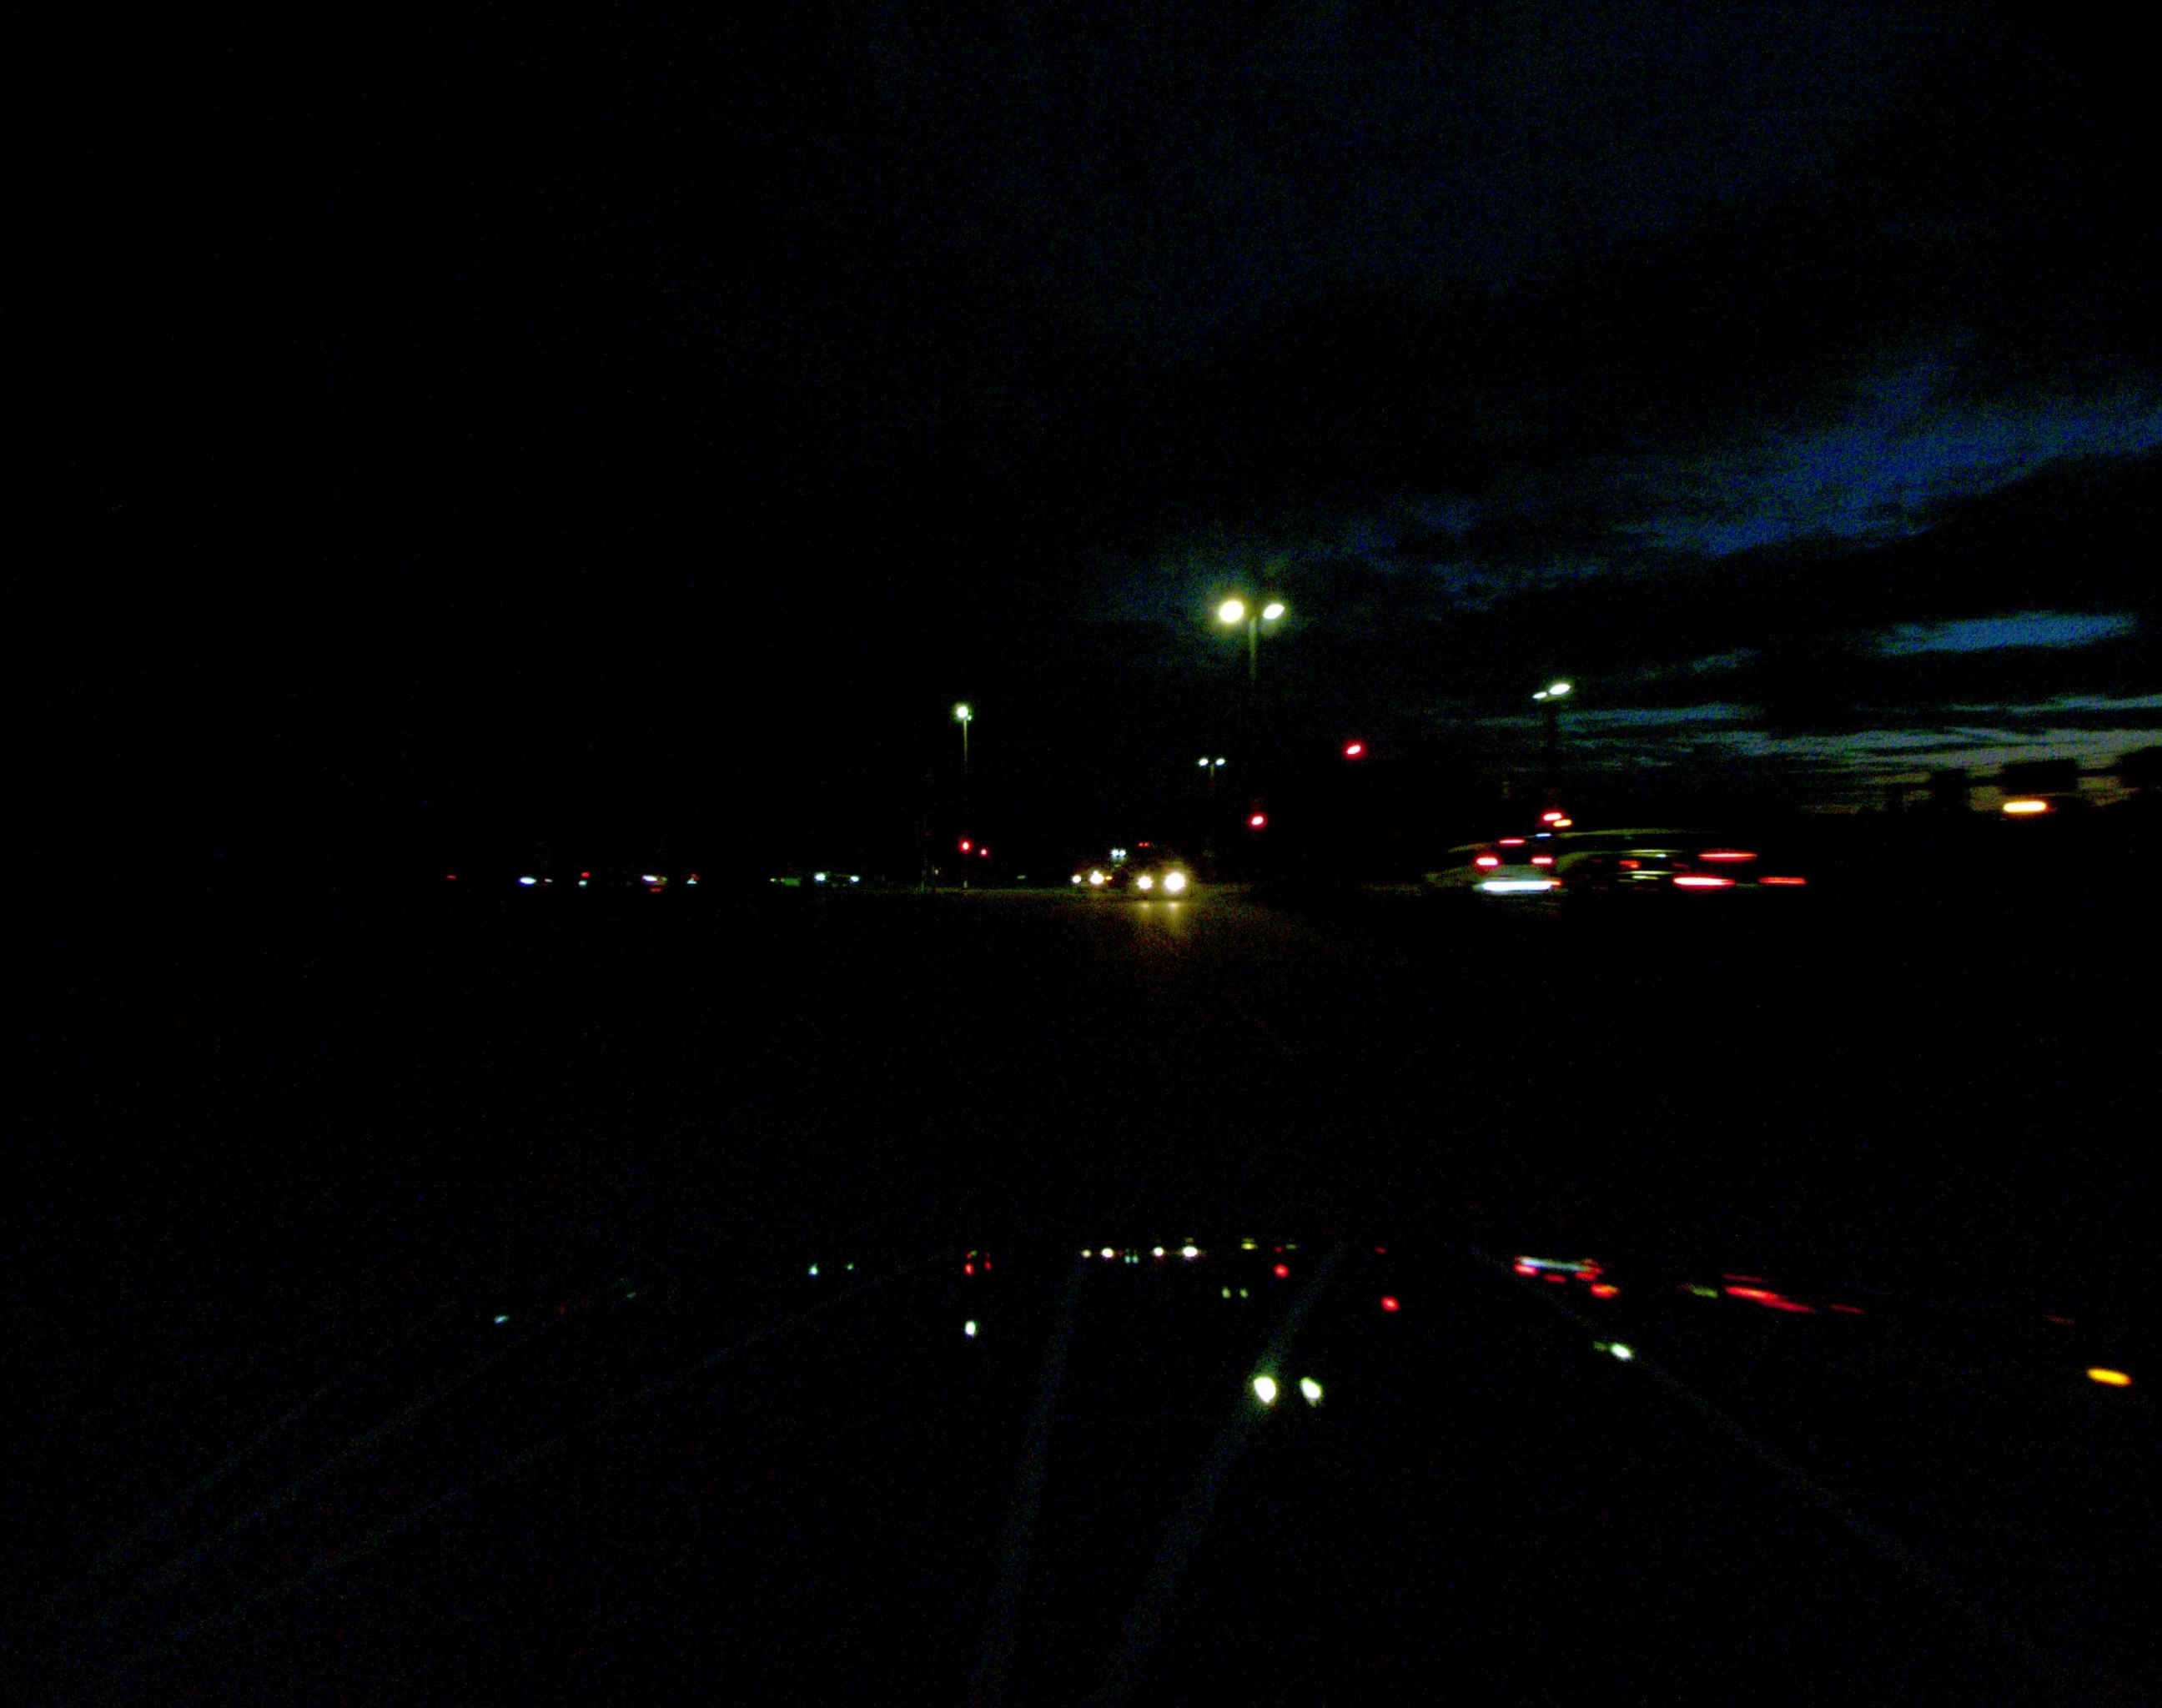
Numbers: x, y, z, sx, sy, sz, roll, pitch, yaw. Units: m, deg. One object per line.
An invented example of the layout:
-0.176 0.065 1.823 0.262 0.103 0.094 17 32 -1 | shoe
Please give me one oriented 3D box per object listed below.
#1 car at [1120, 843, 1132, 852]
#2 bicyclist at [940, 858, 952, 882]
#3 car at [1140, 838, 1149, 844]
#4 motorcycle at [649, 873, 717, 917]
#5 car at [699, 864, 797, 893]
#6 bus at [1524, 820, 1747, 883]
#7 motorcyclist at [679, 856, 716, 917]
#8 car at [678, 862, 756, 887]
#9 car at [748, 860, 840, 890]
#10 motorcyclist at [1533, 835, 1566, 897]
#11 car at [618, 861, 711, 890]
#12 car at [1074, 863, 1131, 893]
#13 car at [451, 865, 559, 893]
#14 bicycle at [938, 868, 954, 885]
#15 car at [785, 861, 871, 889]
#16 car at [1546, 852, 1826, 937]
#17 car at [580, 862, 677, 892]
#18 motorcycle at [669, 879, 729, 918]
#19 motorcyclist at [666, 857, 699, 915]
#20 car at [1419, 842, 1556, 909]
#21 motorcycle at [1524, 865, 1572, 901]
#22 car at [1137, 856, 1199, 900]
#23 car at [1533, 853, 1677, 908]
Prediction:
8.427 -1.258 143.259 1.696 1.586 3.929 -1 -2 12 | car
-9.084 1.086 51.225 0.603 1.641 1.000 -1 0 -1 | bicyclist
16.398 -3.379 195.940 1.739 1.564 4.059 -2 0 0 | car
-12.853 1.310 24.563 1.824 1.175 0.847 -5 4 -31 | motorcycle
-17.134 1.252 39.165 4.285 1.437 1.787 0 -1 6 | car
36.051 -0.097 49.697 12.263 3.767 2.617 -1 -1 3 | bus
-12.015 1.000 23.837 0.871 1.799 0.915 -6 5 -25 | motorcyclist
-22.037 1.236 46.071 3.905 1.472 1.780 0 -1 6 | car
-16.024 1.165 42.539 4.414 1.672 1.916 0 -1 6 | car
15.419 0.402 25.021 0.635 2.001 0.768 -1 -1 8 | motorcyclist
-23.650 1.231 43.208 4.357 1.617 1.752 0 -1 6 | car
1.197 1.251 39.991 1.667 1.471 3.783 -1 -1 24 | car
-30.083 1.285 39.737 4.392 1.382 1.838 0 0 5 | car
-9.105 1.499 51.284 0.694 1.094 2.068 -1 -1 -1 | bicycle
-15.348 1.257 46.191 4.580 1.623 1.859 0 -1 5 | car
11.576 0.706 15.109 1.875 1.389 4.839 -1 -1 3 | car
-23.572 1.185 39.631 3.995 1.516 1.838 0 0 5 | car
-12.001 1.386 23.927 1.579 1.028 0.721 -5 5 -25 | motorcycle
-12.864 1.016 24.539 0.791 1.750 0.682 -5 4 -31 | motorcyclist
12.034 0.624 22.897 1.847 1.803 4.777 -1 -1 4 | car
15.451 0.943 25.188 0.672 1.156 1.810 -1 -1 9 | motorcycle
3.676 0.956 31.363 1.668 1.643 4.417 -1 -1 18 | car
15.097 0.731 22.165 1.773 1.439 3.782 -1 -1 4 | car
